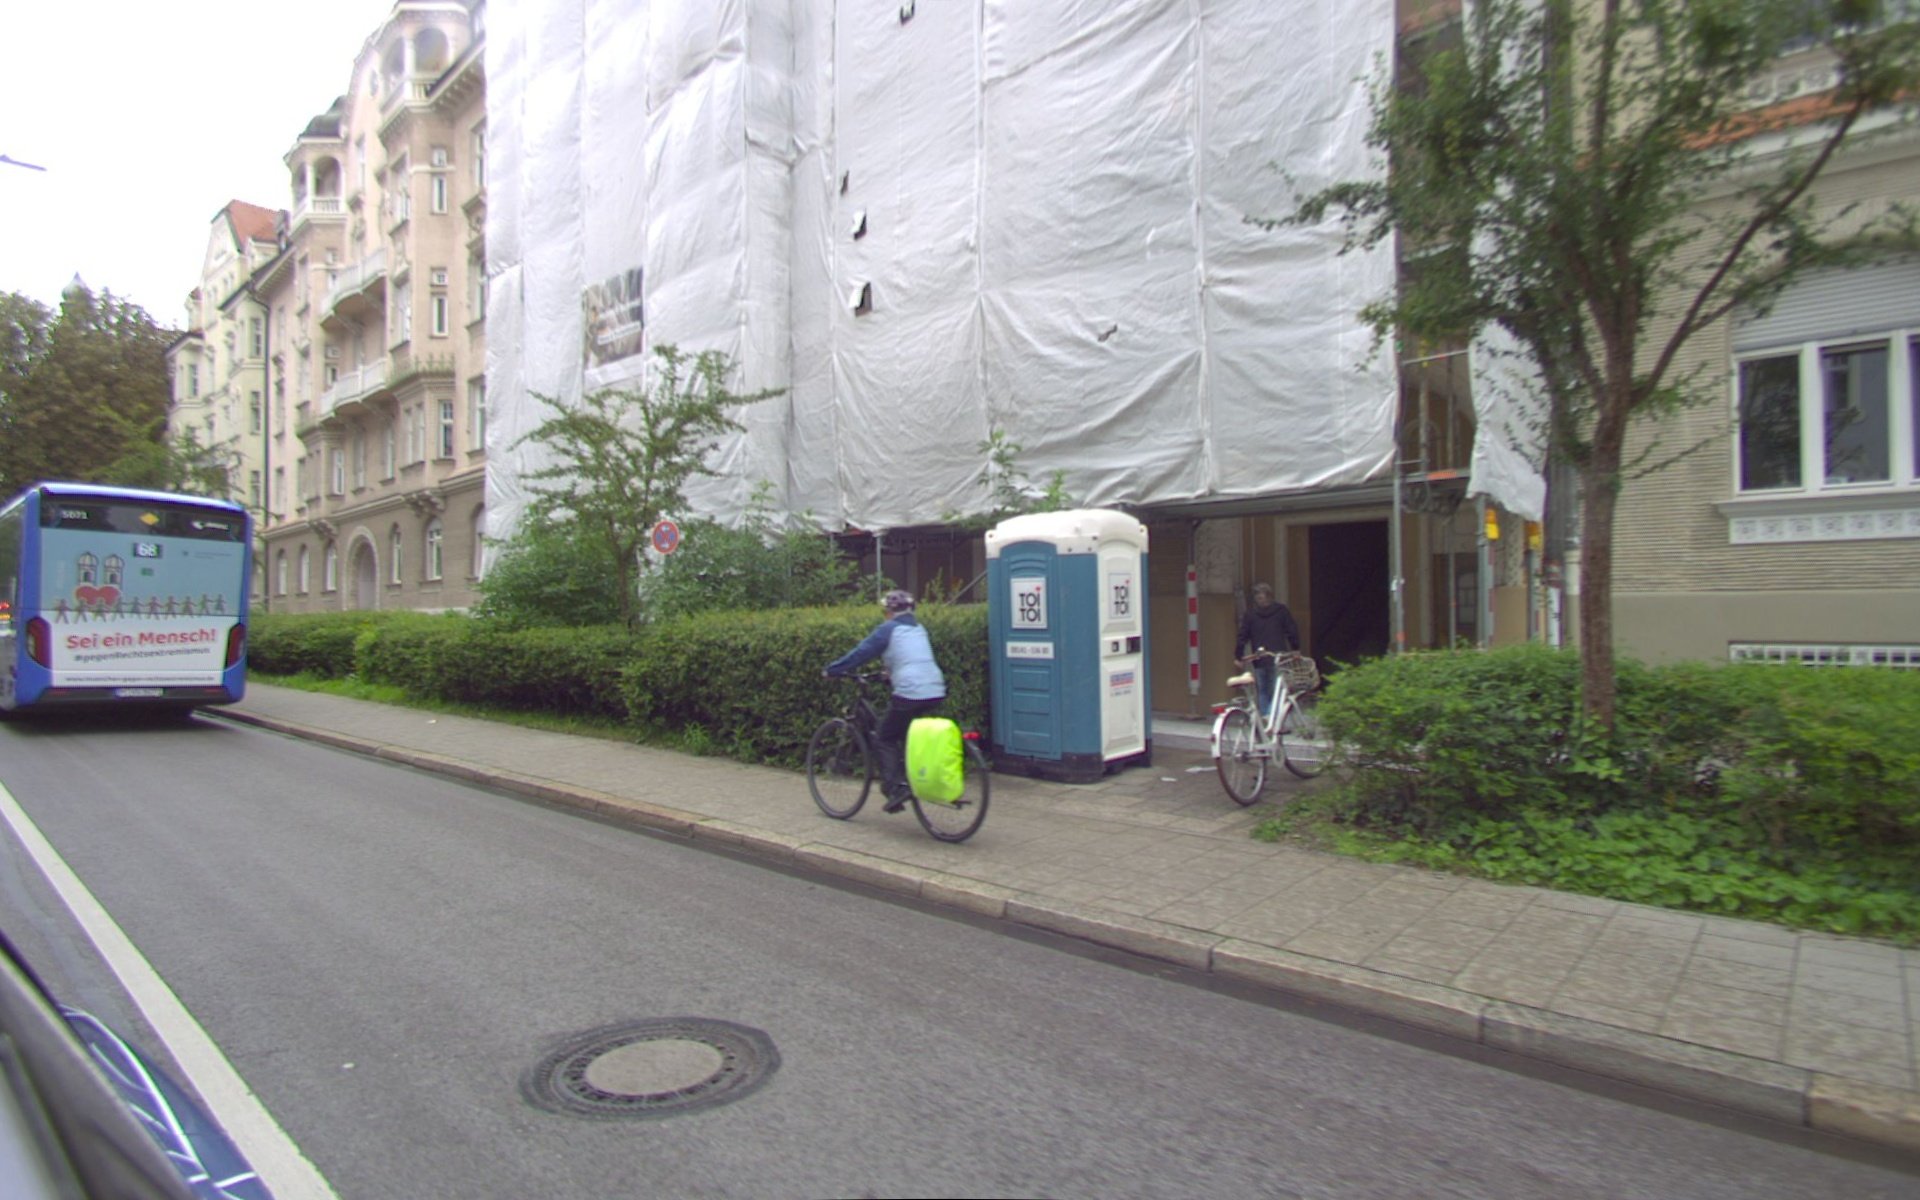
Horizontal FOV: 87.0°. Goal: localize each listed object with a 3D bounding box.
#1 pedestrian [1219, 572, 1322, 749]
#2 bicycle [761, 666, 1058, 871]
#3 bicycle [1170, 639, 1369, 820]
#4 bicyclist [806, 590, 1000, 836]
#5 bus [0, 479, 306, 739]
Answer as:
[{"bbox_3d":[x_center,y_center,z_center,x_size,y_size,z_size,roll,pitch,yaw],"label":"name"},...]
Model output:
[{"bbox_3d":[3.261,0.606,10.631,0.773,1.759,0.761,-1,-1,41],"label":"pedestrian"},{"bbox_3d":[-0.401,1.046,6.869,2.049,1.090,0.760,-1,0,41],"label":"bicycle"},{"bbox_3d":[2.458,0.928,7.888,0.690,1.085,1.839,-2,2,44],"label":"bicycle"},{"bbox_3d":[-0.389,0.697,6.856,1.060,1.504,0.760,-1,0,41],"label":"bicyclist"},{"bbox_3d":[-17.469,0.291,19.837,18.053,3.236,3.137,-1,-3,42],"label":"bus"}]
